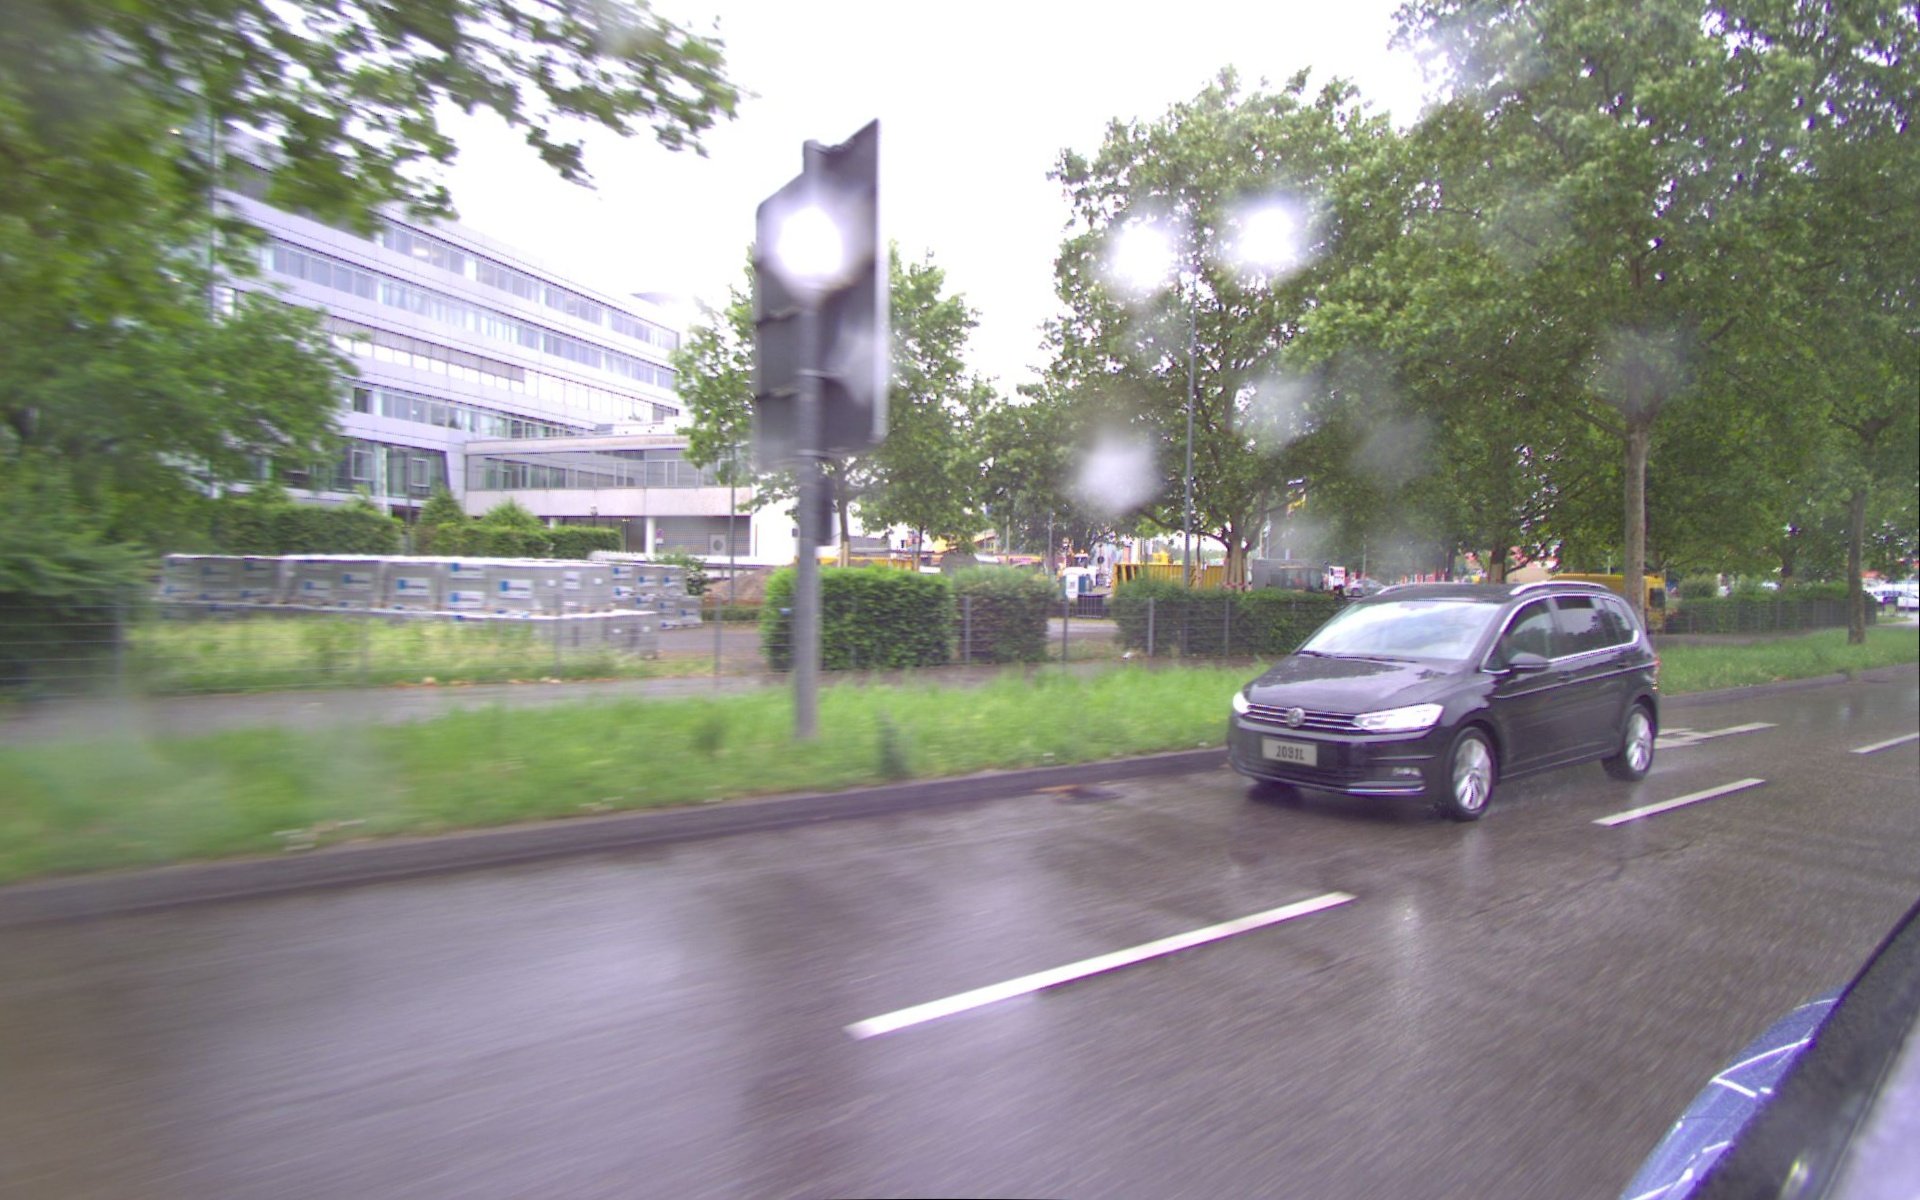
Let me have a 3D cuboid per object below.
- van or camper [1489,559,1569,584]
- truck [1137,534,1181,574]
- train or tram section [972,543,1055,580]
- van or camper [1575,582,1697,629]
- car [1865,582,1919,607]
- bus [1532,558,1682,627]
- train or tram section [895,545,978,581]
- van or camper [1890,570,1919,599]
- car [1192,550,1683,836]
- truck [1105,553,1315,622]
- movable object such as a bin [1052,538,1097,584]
[{"bbox_3d":[75.852,-3.744,135.179,8.866,3.196,2.969,0,1,20],"label":"van or camper"},{"bbox_3d":[17.775,-4.013,89.960,2.465,3.387,9.413,0,1,19],"label":"truck"},{"bbox_3d":[5.477,-3.890,103.739,8.256,3.563,2.388,0,1,17],"label":"train or tram section"},{"bbox_3d":[28.749,0.198,43.158,1.770,1.931,3.996,0,1,-39],"label":"van or camper"},{"bbox_3d":[69.240,-0.378,73.762,4.400,1.693,1.859,2,2,17],"label":"car"},{"bbox_3d":[26.502,-0.340,41.598,1.961,2.680,4.810,0,1,-34],"label":"bus"},{"bbox_3d":[-2.484,-3.838,106.228,8.414,3.563,2.388,0,1,17],"label":"train or tram section"},{"bbox_3d":[73.216,-1.124,75.790,4.841,2.114,1.859,2,2,17],"label":"van or camper"},{"bbox_3d":[3.961,0.544,8.156,4.112,1.748,1.862,0,1,-36],"label":"car"},{"bbox_3d":[11.779,-0.564,47.808,9.380,3.069,3.063,0,1,20],"label":"truck"},{"bbox_3d":[9.435,-3.212,83.876,3.256,3.670,3.614,1,2,0],"label":"movable object such as a bin"}]
